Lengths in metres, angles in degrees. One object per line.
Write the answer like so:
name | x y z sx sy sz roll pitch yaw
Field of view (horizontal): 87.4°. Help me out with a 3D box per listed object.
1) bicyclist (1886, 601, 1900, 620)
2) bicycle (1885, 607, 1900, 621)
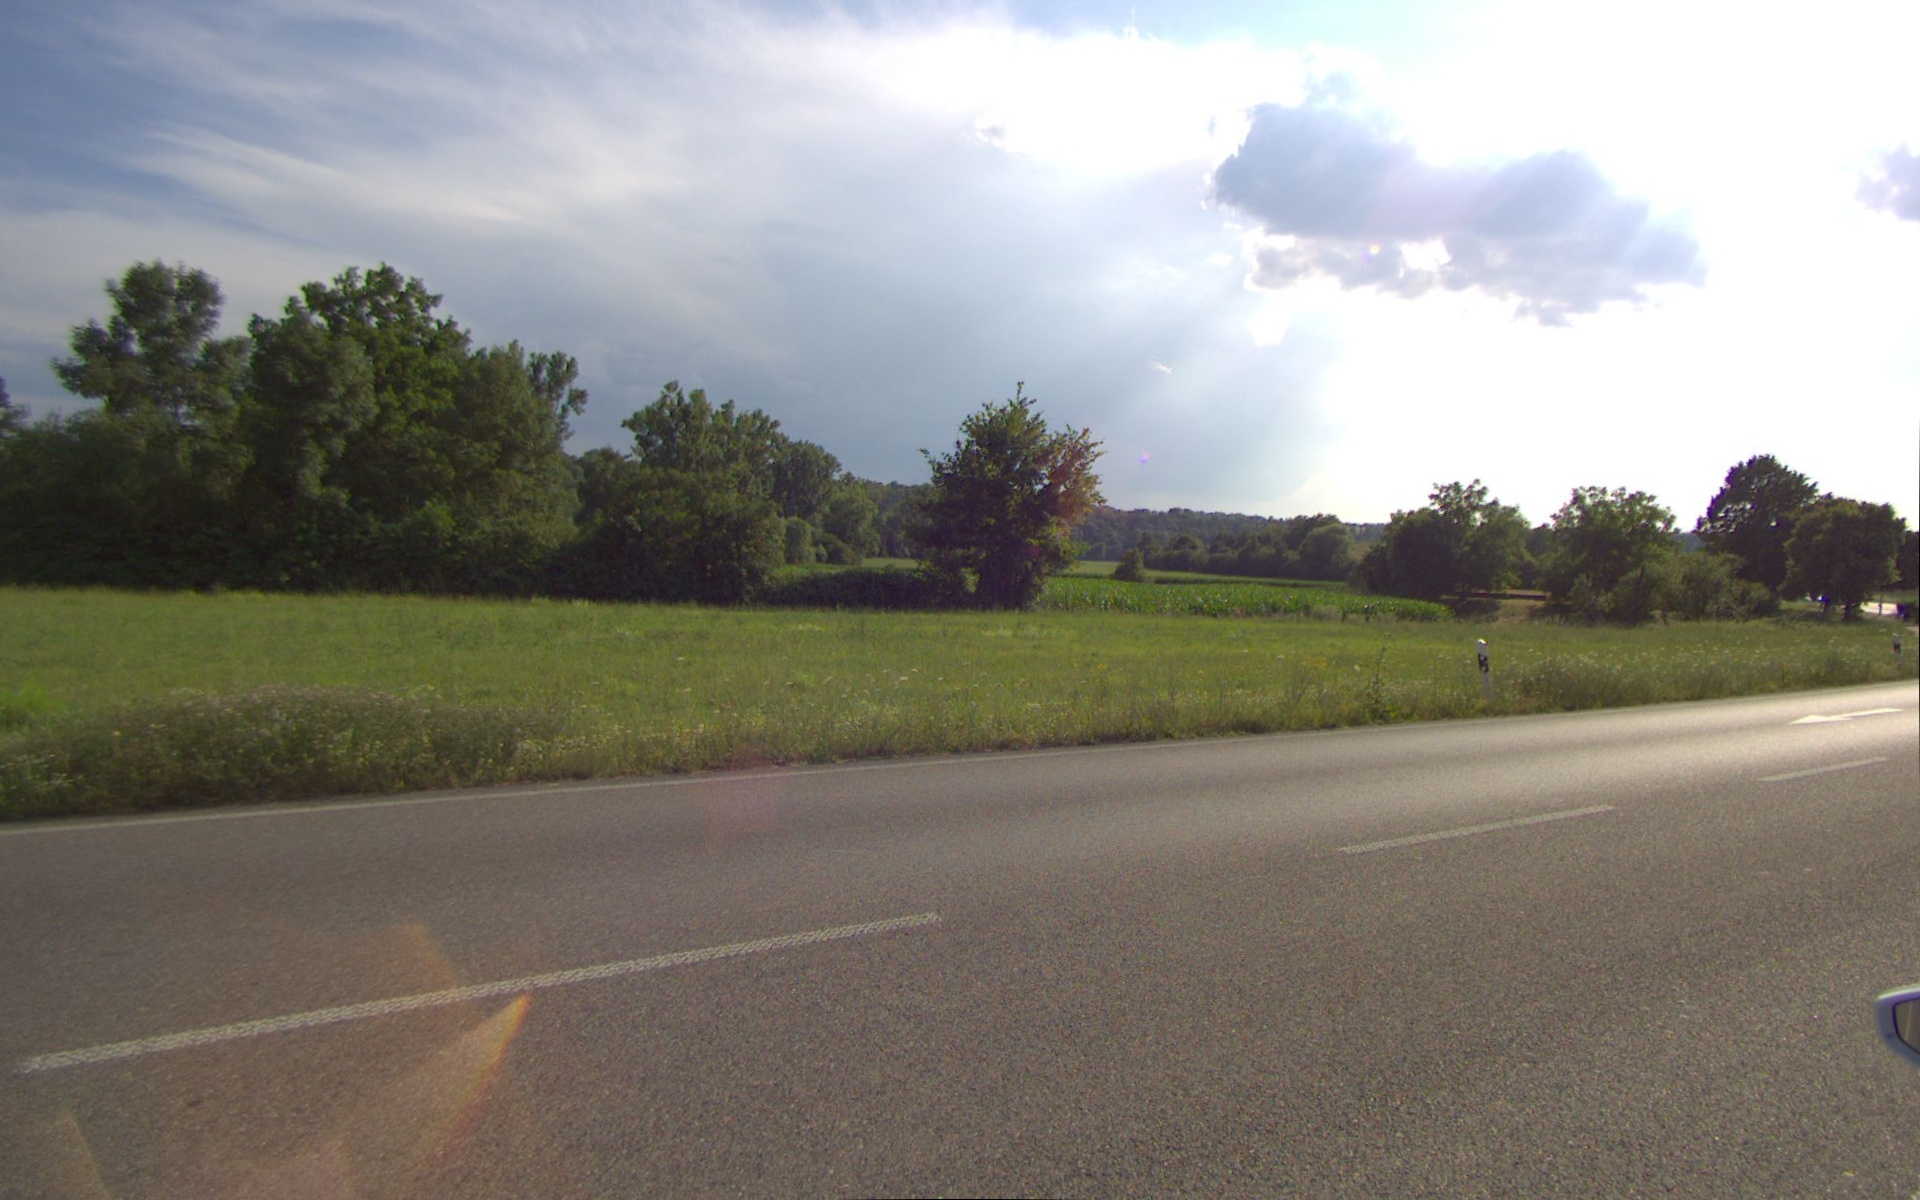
bicyclist | 74.769 0.848 80.505 0.685 1.439 0.630 1 2 -38
bicycle | 74.754 1.108 80.509 1.656 1.089 0.630 1 2 -39
